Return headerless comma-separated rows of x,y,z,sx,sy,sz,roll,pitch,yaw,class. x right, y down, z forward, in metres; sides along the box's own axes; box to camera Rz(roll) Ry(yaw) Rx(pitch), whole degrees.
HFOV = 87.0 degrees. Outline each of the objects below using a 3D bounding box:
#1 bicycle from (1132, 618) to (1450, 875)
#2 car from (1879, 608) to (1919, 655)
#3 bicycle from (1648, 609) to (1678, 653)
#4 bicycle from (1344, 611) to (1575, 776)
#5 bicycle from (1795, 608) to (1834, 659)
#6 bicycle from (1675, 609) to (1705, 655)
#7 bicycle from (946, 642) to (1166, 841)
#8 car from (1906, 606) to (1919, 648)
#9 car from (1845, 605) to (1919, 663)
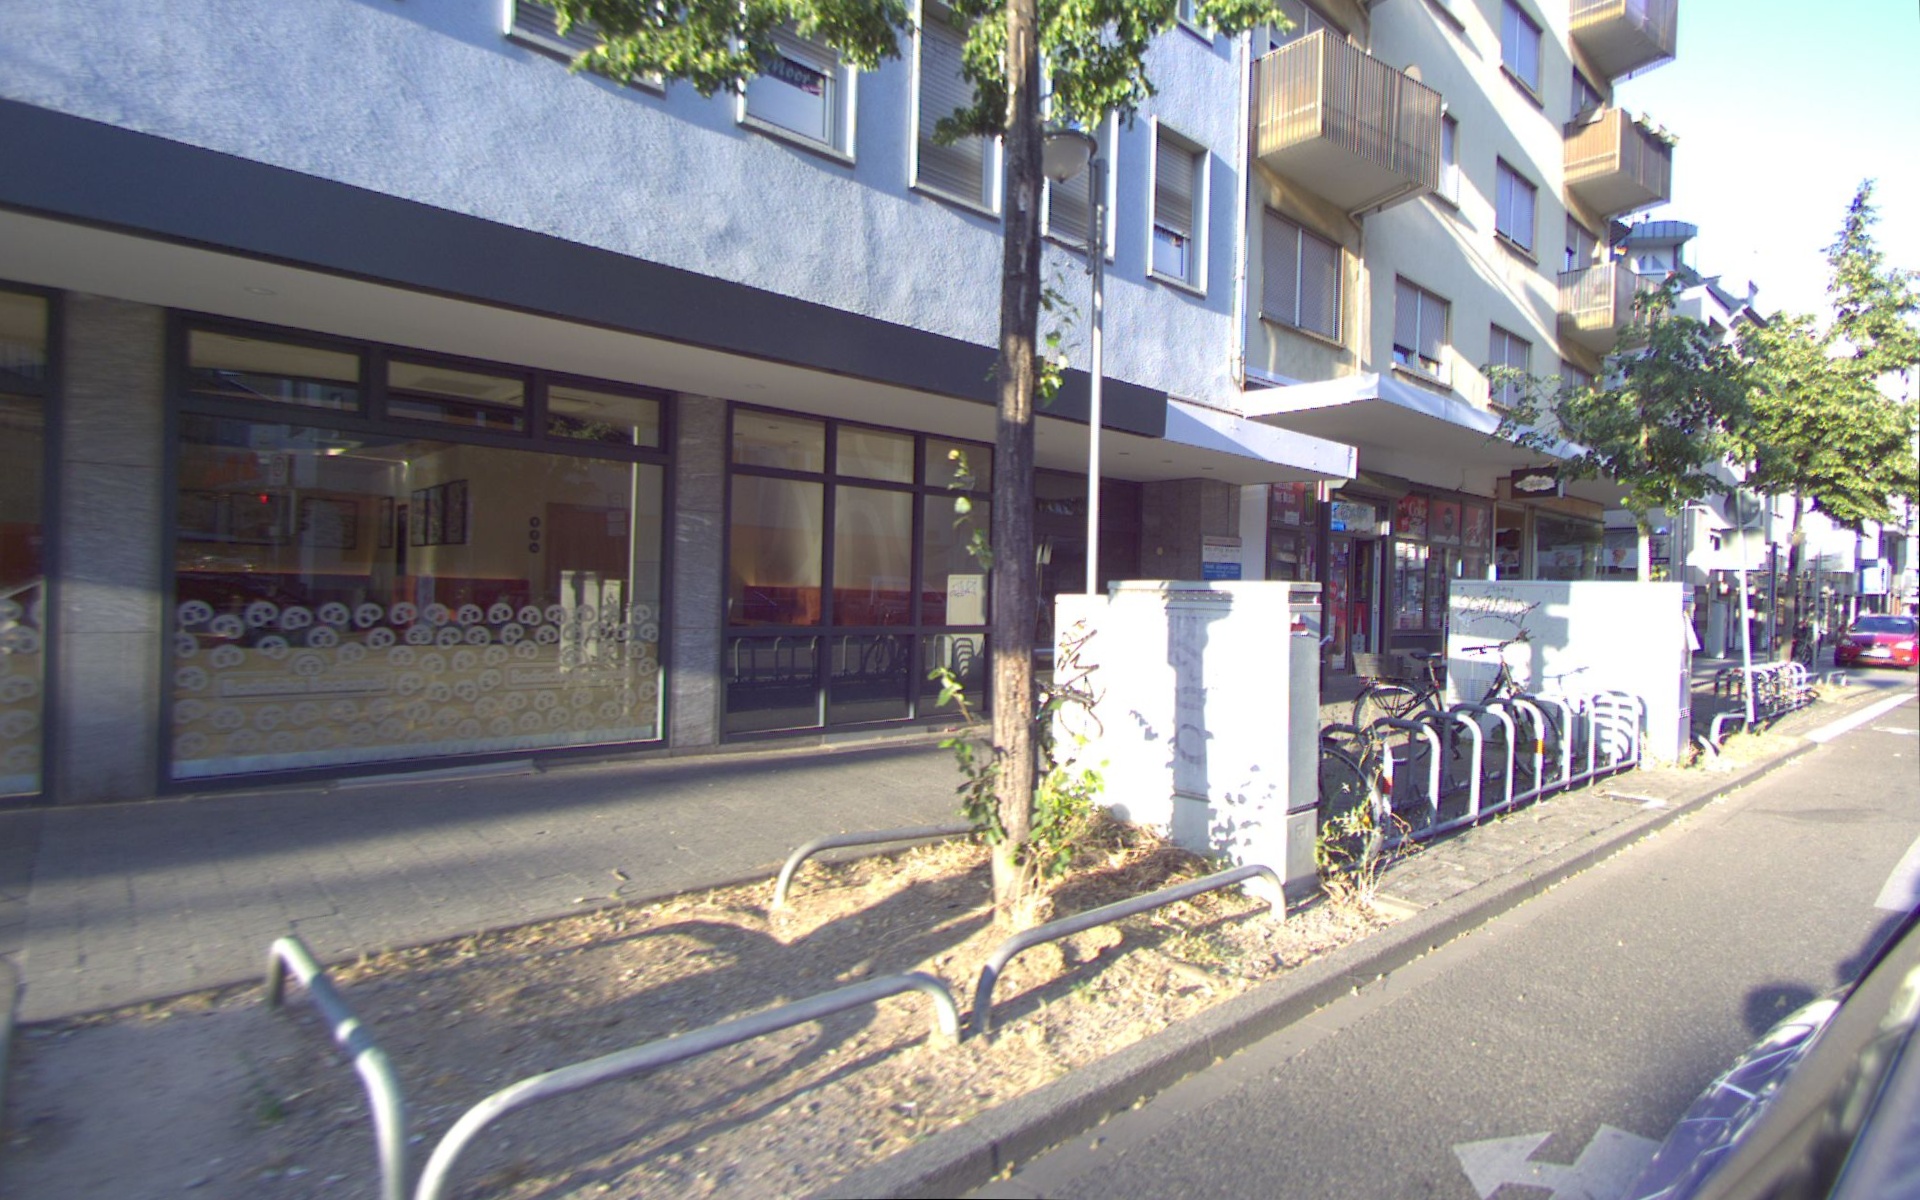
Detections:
1.805,0.730,5.713,1.657,1.209,0.470,1,0,44,bicycle
30.065,0.970,31.691,3.632,1.412,1.612,1,-1,-43,car
19.113,0.826,27.512,0.331,1.144,1.980,1,1,44,bicycle
4.126,0.722,8.423,1.652,1.209,0.487,1,0,37,bicycle
22.164,0.844,26.240,1.683,1.253,0.504,0,2,-42,bicycle
19.540,0.843,27.072,0.331,1.144,1.980,3,2,44,bicycle
0.648,0.808,6.288,0.403,1.023,1.644,4,2,43,bicycle
35.233,0.969,36.473,3.323,1.469,1.429,1,0,-42,car
25.013,0.867,26.979,3.930,1.447,1.651,1,-1,-42,car
